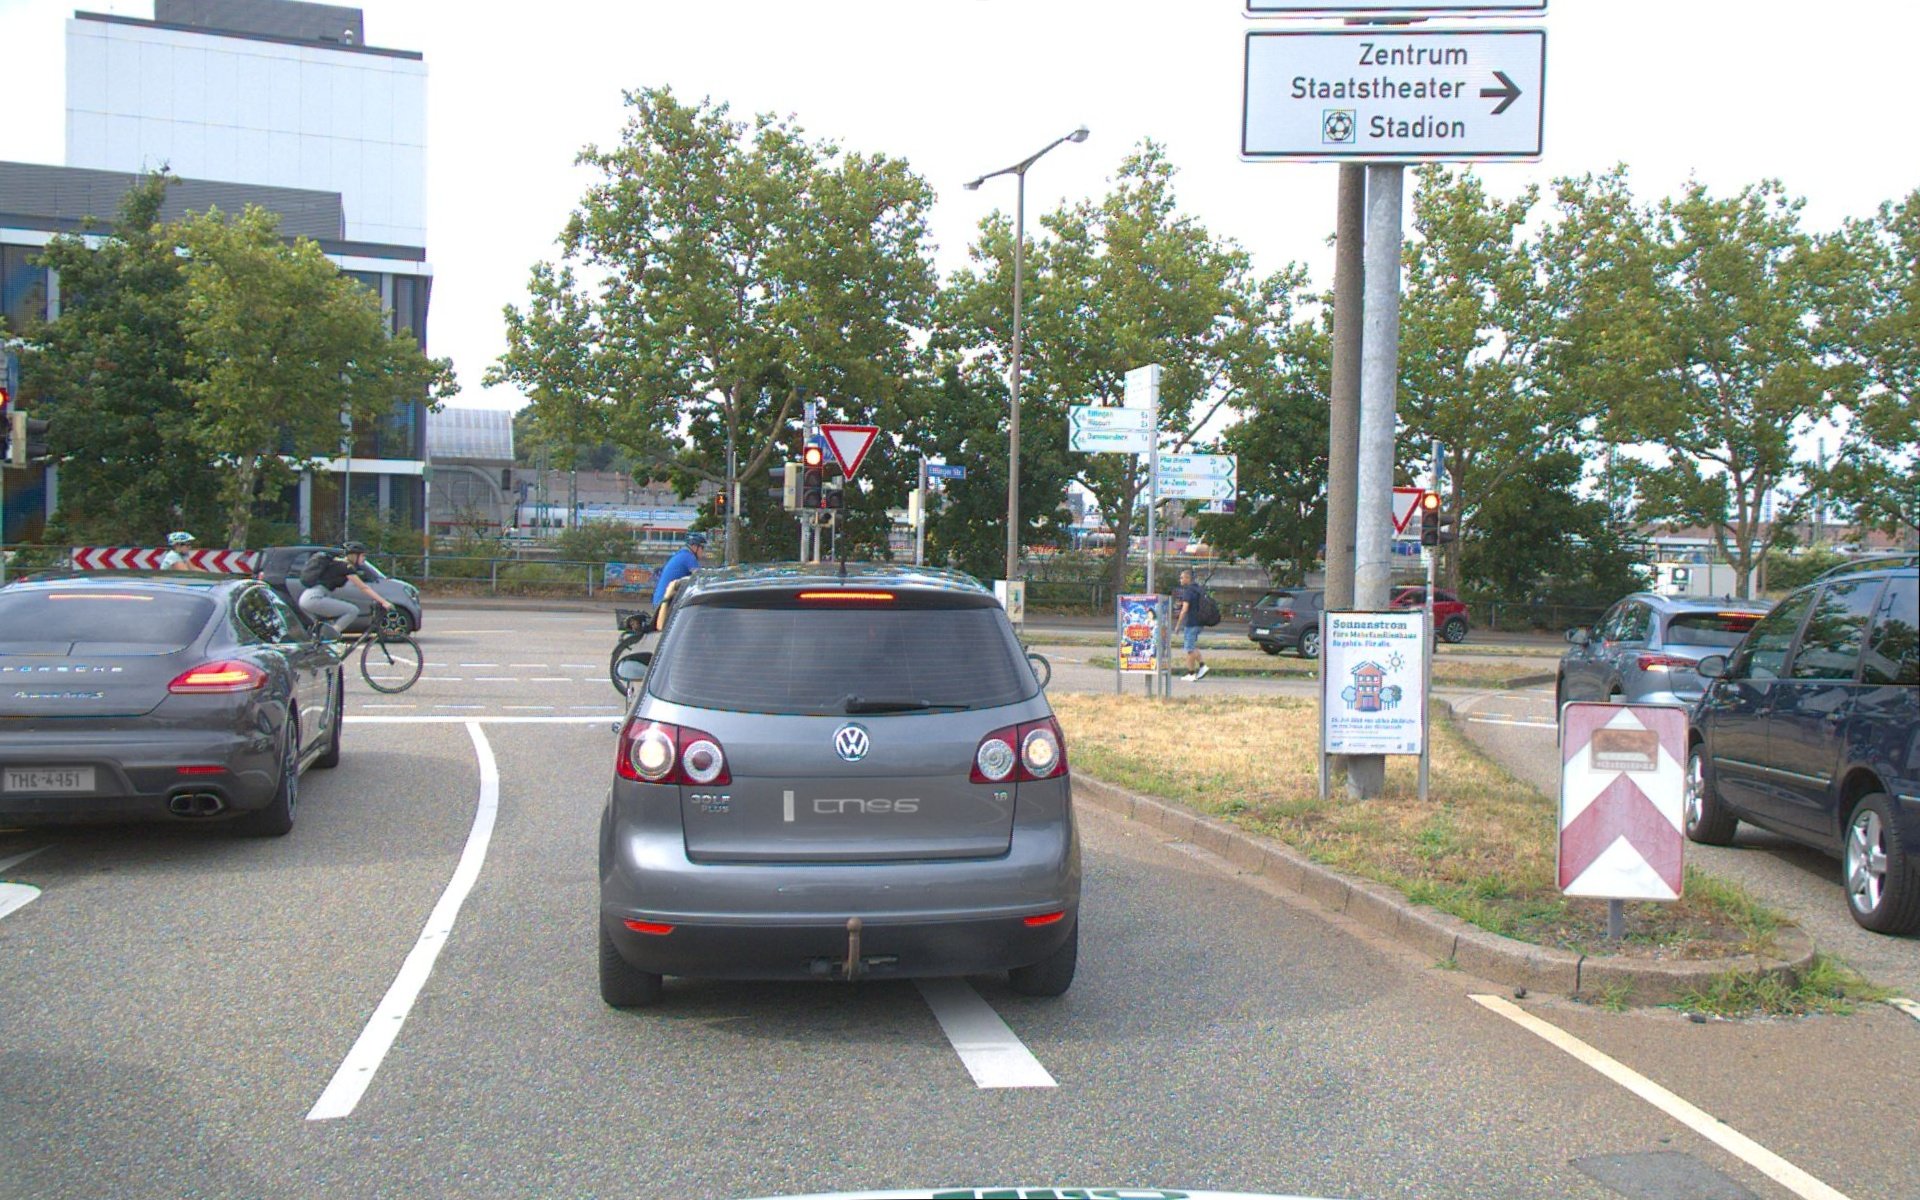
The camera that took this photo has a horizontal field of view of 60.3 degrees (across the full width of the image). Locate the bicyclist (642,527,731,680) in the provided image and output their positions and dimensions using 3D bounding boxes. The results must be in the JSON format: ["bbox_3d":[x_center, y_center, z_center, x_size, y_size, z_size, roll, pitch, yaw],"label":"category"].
[{"bbox_3d":[-3.116,0.039,18.791,0.867,1.685,0.807,1,1,-19],"label":"bicyclist"}]

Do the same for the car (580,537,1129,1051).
[{"bbox_3d":[-0.606,0.582,7.212,1.709,1.573,4.074,1,0,-9],"label":"car"}]

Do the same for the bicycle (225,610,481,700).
[{"bbox_3d":[-6.621,0.578,18.123,2.556,0.905,0.698,0,1,-30],"label":"bicycle"}]

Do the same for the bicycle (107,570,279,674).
[{"bbox_3d":[-9.398,0.264,20.351,1.875,1.231,0.638,1,1,-23],"label":"bicycle"}]

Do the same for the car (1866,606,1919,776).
[{"bbox_3d":[10.214,0.943,15.516,1.713,1.671,4.141,3,0,10],"label":"car"}]

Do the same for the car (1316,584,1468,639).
[{"bbox_3d":[12.157,0.320,46.554,3.894,1.473,1.692,1,1,-21],"label":"car"}]

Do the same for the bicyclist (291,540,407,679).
[{"bbox_3d":[-6.678,0.090,18.071,1.102,1.461,0.641,0,2,-31],"label":"bicyclist"}]

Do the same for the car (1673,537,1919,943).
[{"bbox_3d":[5.265,0.648,8.684,1.713,1.754,4.141,3,0,9],"label":"car"}]

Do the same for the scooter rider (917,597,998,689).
[{"bbox_3d":[-0.038,0.558,21.812,0.898,1.157,0.806,1,1,-13],"label":"scooter rider"}]

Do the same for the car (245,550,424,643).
[{"bbox_3d":[-10.296,-0.055,27.289,2.672,1.447,1.490,1,1,-22],"label":"car"}]

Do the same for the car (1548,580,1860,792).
[{"bbox_3d":[6.737,0.699,15.443,1.655,1.613,4.160,3,0,11],"label":"car"}]

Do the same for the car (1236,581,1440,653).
[{"bbox_3d":[8.116,0.363,35.543,3.996,1.476,1.693,1,1,-20],"label":"car"}]

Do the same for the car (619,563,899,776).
[{"bbox_3d":[-1.835,0.479,13.910,1.713,1.508,4.064,1,1,-16],"label":"car"}]

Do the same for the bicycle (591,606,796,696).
[{"bbox_3d":[-3.035,0.573,18.844,2.195,0.969,0.807,1,1,-20],"label":"bicycle"}]

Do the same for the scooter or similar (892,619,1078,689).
[{"bbox_3d":[0.322,0.713,21.903,2.338,0.864,0.806,1,1,-13],"label":"scooter or similar"}]

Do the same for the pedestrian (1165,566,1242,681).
[{"bbox_3d":[3.867,0.358,26.230,1.025,1.740,0.854,2,1,17],"label":"pedestrian"}]

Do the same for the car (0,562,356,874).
[{"bbox_3d":[-4.846,0.517,10.112,1.789,1.438,4.756,1,1,-16],"label":"car"}]

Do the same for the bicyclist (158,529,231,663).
[{"bbox_3d":[-9.398,-0.052,20.331,0.768,1.608,0.650,1,1,-23],"label":"bicyclist"}]
